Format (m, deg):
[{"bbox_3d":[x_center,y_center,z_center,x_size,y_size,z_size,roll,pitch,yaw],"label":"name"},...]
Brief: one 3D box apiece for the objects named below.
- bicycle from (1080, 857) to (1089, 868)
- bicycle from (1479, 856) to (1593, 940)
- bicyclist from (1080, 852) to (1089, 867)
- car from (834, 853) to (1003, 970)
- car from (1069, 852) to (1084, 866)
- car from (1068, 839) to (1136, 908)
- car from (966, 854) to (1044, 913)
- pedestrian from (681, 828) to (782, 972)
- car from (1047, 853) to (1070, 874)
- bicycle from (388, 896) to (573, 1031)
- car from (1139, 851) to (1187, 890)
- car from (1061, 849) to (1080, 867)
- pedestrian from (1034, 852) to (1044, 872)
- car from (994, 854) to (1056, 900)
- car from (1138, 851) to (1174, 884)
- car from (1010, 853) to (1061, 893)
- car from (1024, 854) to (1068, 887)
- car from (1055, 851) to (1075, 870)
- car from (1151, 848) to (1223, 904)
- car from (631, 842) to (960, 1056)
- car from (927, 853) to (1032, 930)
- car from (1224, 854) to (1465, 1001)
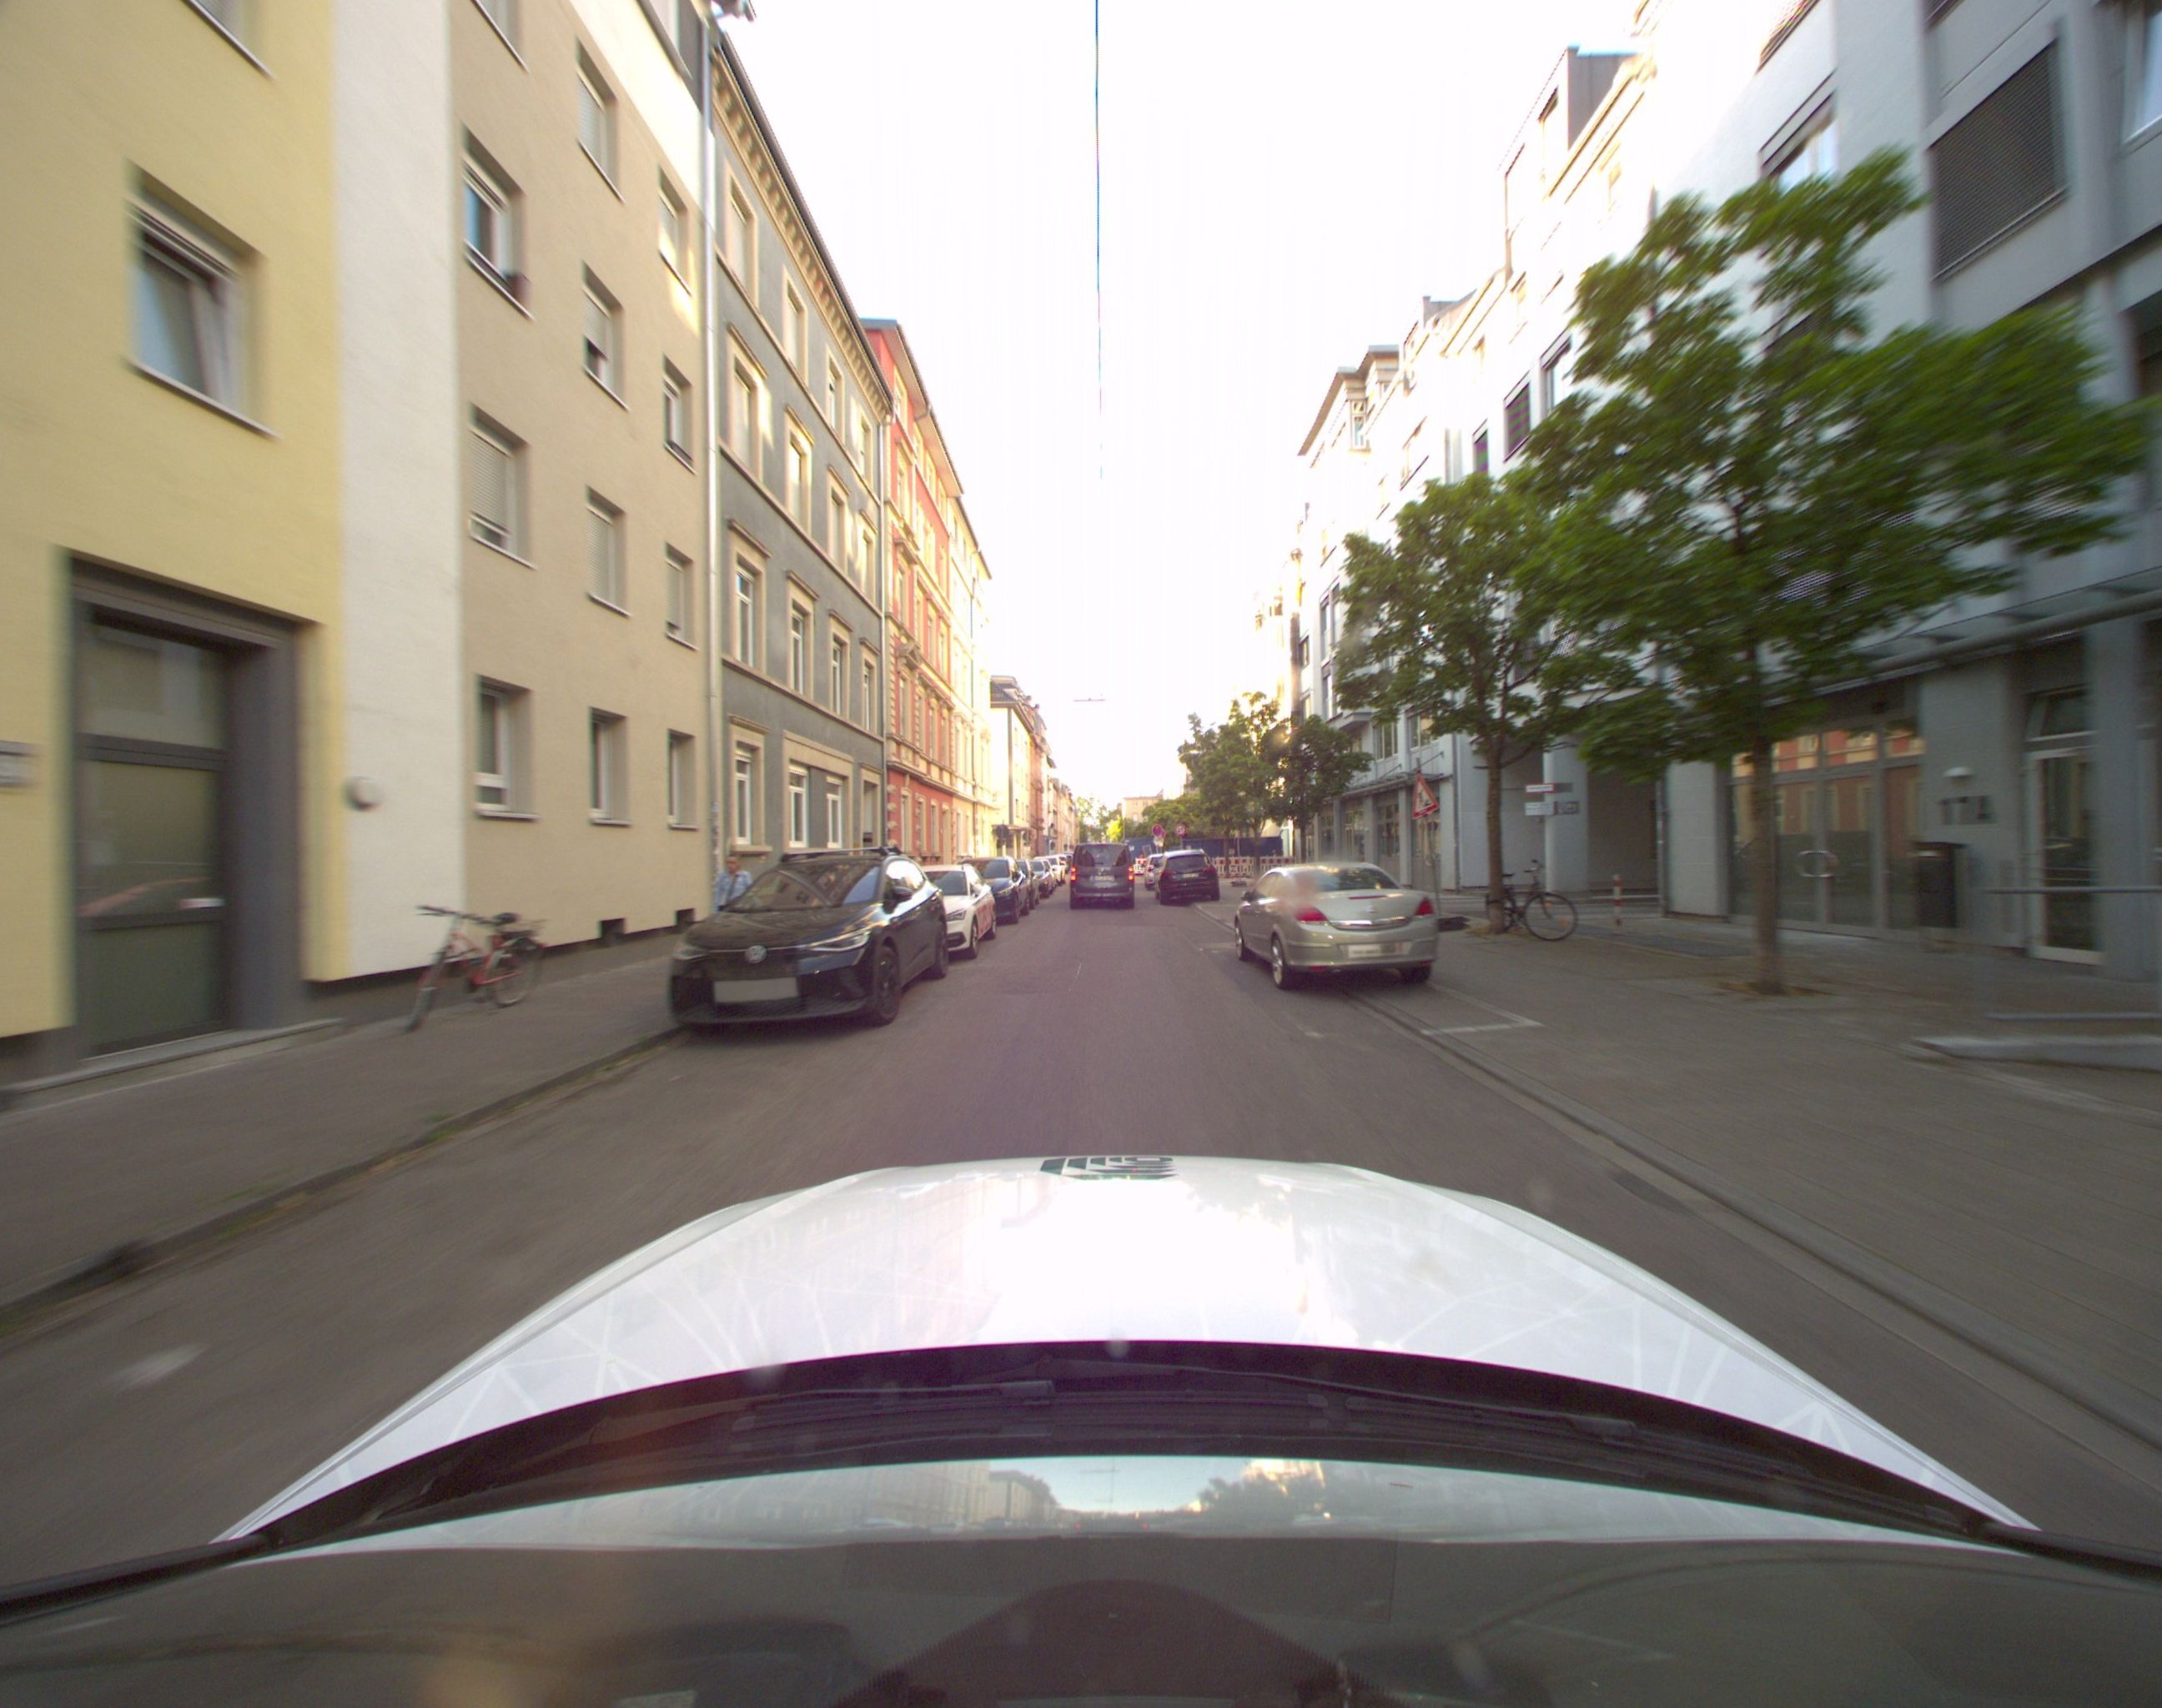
[{"bbox_3d":[0.342,0.841,77.689,0.730,1.028,2.116,0,0,3],"label":"bicycle"},{"bbox_3d":[6.891,0.628,12.448,0.520,1.168,1.735,-3,0,-9],"label":"bicycle"},{"bbox_3d":[0.337,0.512,77.402,0.730,1.412,0.941,0,0,2],"label":"bicyclist"},{"bbox_3d":[-2.558,0.825,13.922,1.914,1.560,4.267,-3,0,0],"label":"car"},{"bbox_3d":[-0.598,0.685,115.493,1.887,1.846,4.345,4,-1,-2],"label":"car"},{"bbox_3d":[0.640,0.565,24.654,1.858,1.886,4.236,0,-1,1],"label":"car"},{"bbox_3d":[-2.276,0.834,25.371,1.894,1.560,4.241,-3,0,0],"label":"car"},{"bbox_3d":[-4.645,0.585,10.896,0.786,1.790,1.092,-3,0,1],"label":"pedestrian"},{"bbox_3d":[-1.793,0.756,64.770,1.652,1.460,3.415,4,-1,-2],"label":"car"},{"bbox_3d":[-5.712,0.986,7.881,0.449,1.074,1.752,0,0,2],"label":"bicycle"},{"bbox_3d":[3.580,0.692,36.164,1.671,1.525,3.970,-3,0,0],"label":"car"},{"bbox_3d":[-1.186,0.434,90.213,1.887,1.846,4.345,4,-1,-2],"label":"car"},{"bbox_3d":[-3.474,0.655,67.388,0.738,1.664,0.703,-1,0,-3],"label":"pedestrian"},{"bbox_3d":[-2.048,0.819,30.843,1.914,1.484,4.267,-3,0,0],"label":"car"},{"bbox_3d":[3.750,0.648,40.899,1.669,1.476,3.734,-3,0,4],"label":"car"},{"bbox_3d":[-1.953,0.804,36.266,1.914,1.560,4.267,-3,0,0],"label":"car"},{"bbox_3d":[-1.741,0.798,41.668,1.914,1.507,4.268,-3,0,1],"label":"car"},{"bbox_3d":[-1.591,0.666,80.842,1.887,1.719,3.751,4,-1,-2],"label":"car"},{"bbox_3d":[3.411,0.660,26.979,1.878,1.622,4.435,-3,0,1],"label":"car"},{"bbox_3d":[-2.694,0.773,8.971,1.914,1.663,4.469,-3,0,0],"label":"car"},{"bbox_3d":[-2.350,0.823,20.025,1.914,1.560,4.267,-3,0,0],"label":"car"},{"bbox_3d":[3.075,0.755,10.508,1.757,1.429,4.346,-3,0,1],"label":"car"}]
